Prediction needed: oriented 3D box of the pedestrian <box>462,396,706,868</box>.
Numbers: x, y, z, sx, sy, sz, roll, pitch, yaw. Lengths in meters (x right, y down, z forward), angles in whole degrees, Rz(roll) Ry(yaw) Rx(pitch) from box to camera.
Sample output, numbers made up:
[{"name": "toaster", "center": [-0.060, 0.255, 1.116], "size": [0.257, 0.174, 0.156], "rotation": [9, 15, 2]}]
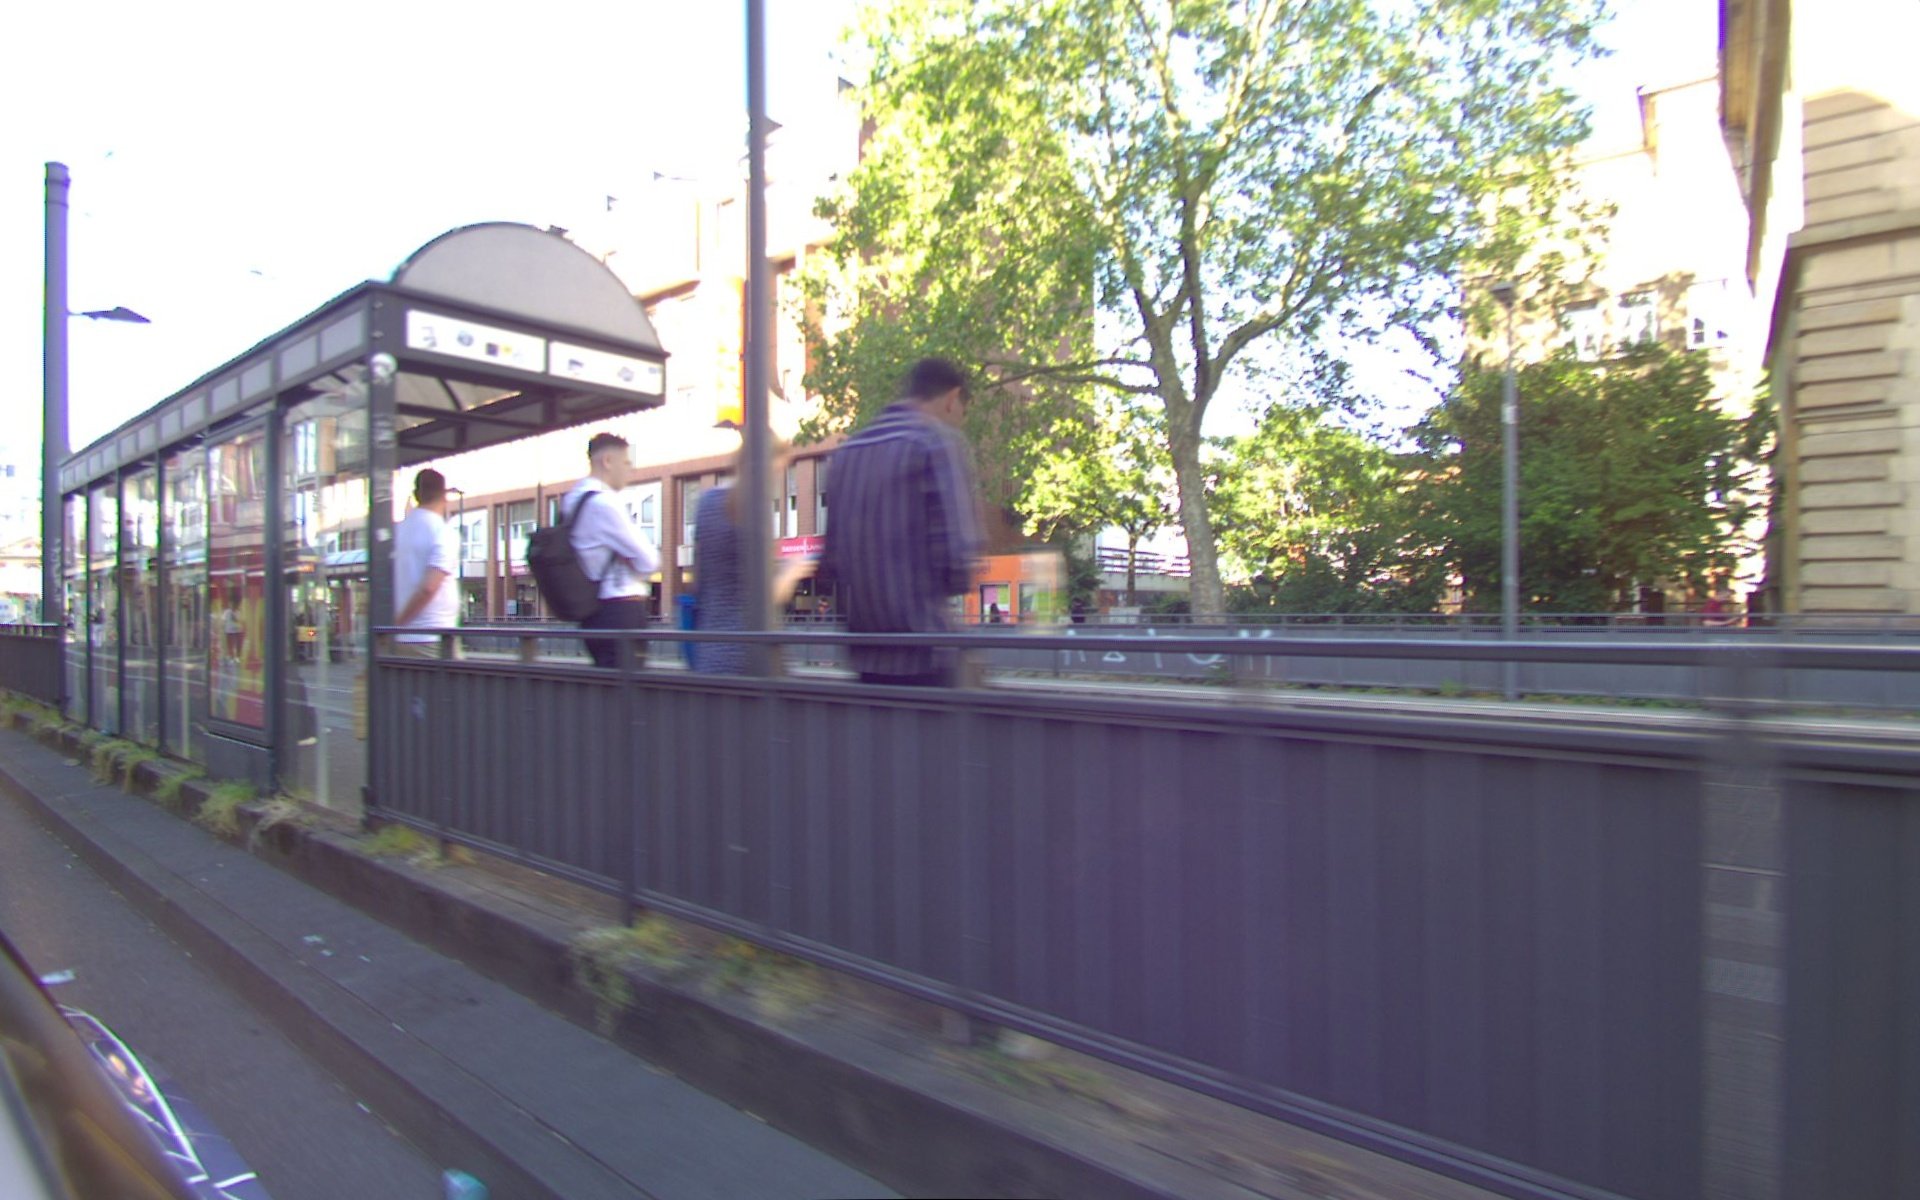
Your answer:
[{"name": "pedestrian", "center": [-1.590, 0.123, 4.286], "size": [0.747, 1.765, 0.683], "rotation": [-1, -1, 39]}]

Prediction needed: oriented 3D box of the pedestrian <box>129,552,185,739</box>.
[{"name": "pedestrian", "center": [-7.026, 0.382, 8.869], "size": [0.316, 1.584, 0.544], "rotation": [-1, 0, -34]}]

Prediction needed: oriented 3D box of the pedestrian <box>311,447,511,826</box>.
[{"name": "pedestrian", "center": [-2.850, 0.176, 5.253], "size": [0.747, 1.778, 0.683], "rotation": [-1, -1, 39]}]

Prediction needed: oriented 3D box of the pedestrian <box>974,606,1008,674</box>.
[{"name": "pedestrian", "center": [0.867, 1.092, 27.994], "size": [0.647, 1.819, 0.680], "rotation": [-1, -1, 39]}]

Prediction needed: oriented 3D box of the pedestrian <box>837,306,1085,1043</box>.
[{"name": "pedestrian", "center": [-0.003, 0.170, 2.616], "size": [0.528, 1.682, 0.348], "rotation": [-1, -1, 39]}]

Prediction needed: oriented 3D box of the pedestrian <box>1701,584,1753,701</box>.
[{"name": "pedestrian", "center": [11.691, 0.627, 15.430], "size": [0.613, 1.726, 0.672], "rotation": [0, 0, 39]}]

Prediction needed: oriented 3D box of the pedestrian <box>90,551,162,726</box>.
[{"name": "pedestrian", "center": [-7.853, 0.351, 9.526], "size": [0.592, 1.585, 0.420], "rotation": [-1, -1, 41]}]

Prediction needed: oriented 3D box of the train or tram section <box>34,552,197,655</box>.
[{"name": "train or tram section", "center": [-35.241, 0.198, 41.905], "size": [13.936, 3.672, 2.943], "rotation": [-1, 1, 41]}]

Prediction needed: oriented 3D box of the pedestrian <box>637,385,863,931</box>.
[{"name": "pedestrian", "center": [-0.719, 0.177, 3.459], "size": [0.589, 1.661, 0.488], "rotation": [-1, -1, 39]}]

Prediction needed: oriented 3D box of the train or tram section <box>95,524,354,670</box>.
[{"name": "train or tram section", "center": [-23.864, 0.090, 32.067], "size": [16.475, 3.672, 2.943], "rotation": [-2, 0, 41]}]

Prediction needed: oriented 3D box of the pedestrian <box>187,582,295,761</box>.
[{"name": "pedestrian", "center": [-5.330, 0.502, 7.504], "size": [0.460, 1.262, 0.535], "rotation": [-1, 0, 39]}]

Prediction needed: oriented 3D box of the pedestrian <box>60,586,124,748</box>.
[{"name": "pedestrian", "center": [-8.765, 0.658, 10.222], "size": [0.447, 1.585, 0.420], "rotation": [-1, -1, 41]}]

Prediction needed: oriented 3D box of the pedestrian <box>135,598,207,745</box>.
[{"name": "pedestrian", "center": [-6.481, 0.565, 8.311], "size": [0.460, 1.161, 0.362], "rotation": [-1, 0, 40]}]

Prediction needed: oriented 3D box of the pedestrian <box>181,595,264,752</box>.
[{"name": "pedestrian", "center": [-5.703, 0.549, 7.830], "size": [0.460, 1.161, 0.404], "rotation": [-1, 0, 40]}]
